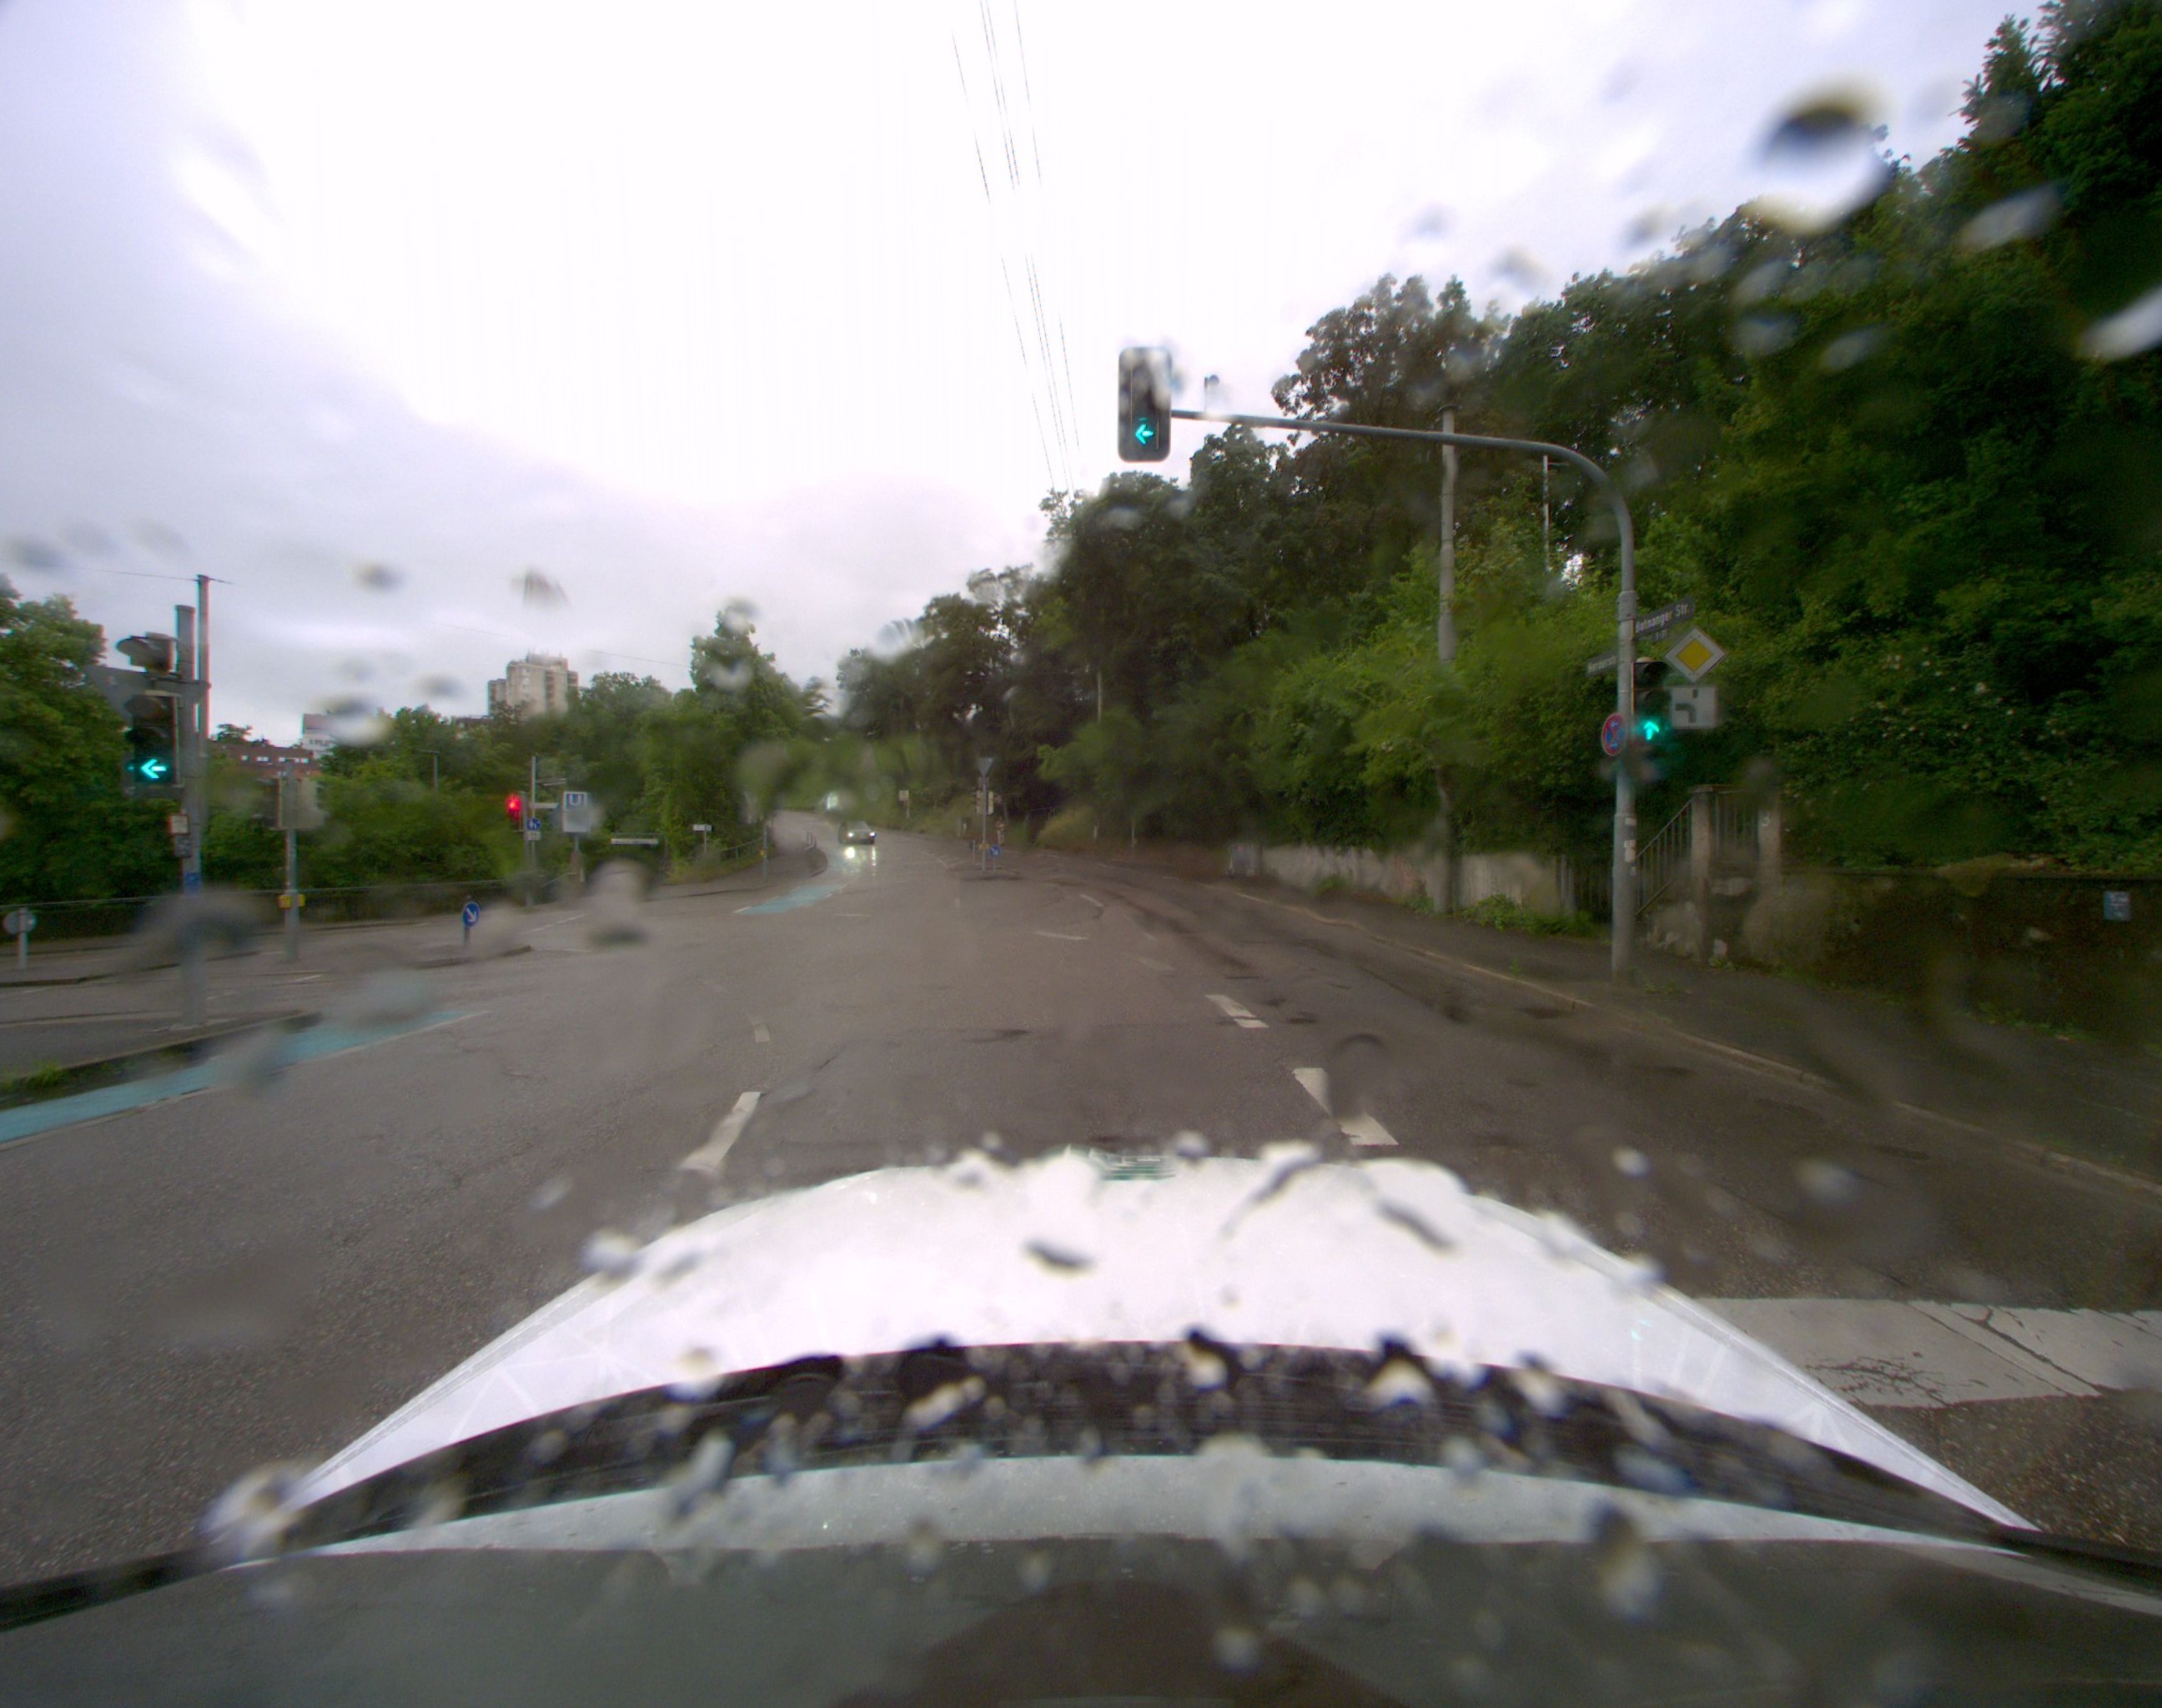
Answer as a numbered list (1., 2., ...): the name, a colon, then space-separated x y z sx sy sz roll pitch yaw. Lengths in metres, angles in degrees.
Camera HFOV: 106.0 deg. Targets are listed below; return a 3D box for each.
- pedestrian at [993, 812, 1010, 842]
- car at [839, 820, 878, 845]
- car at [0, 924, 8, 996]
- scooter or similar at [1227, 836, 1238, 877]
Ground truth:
1. pedestrian: -4.787 -1.618 49.261 0.882 1.736 0.861 0 -1 -15
2. car: -14.767 -1.463 53.948 1.964 1.511 4.372 0 3 -22
3. car: -17.916 1.471 10.860 4.458 1.507 1.982 -3 3 1
4. scooter or similar: 4.918 0.072 26.468 0.320 1.279 0.754 -1 2 10
